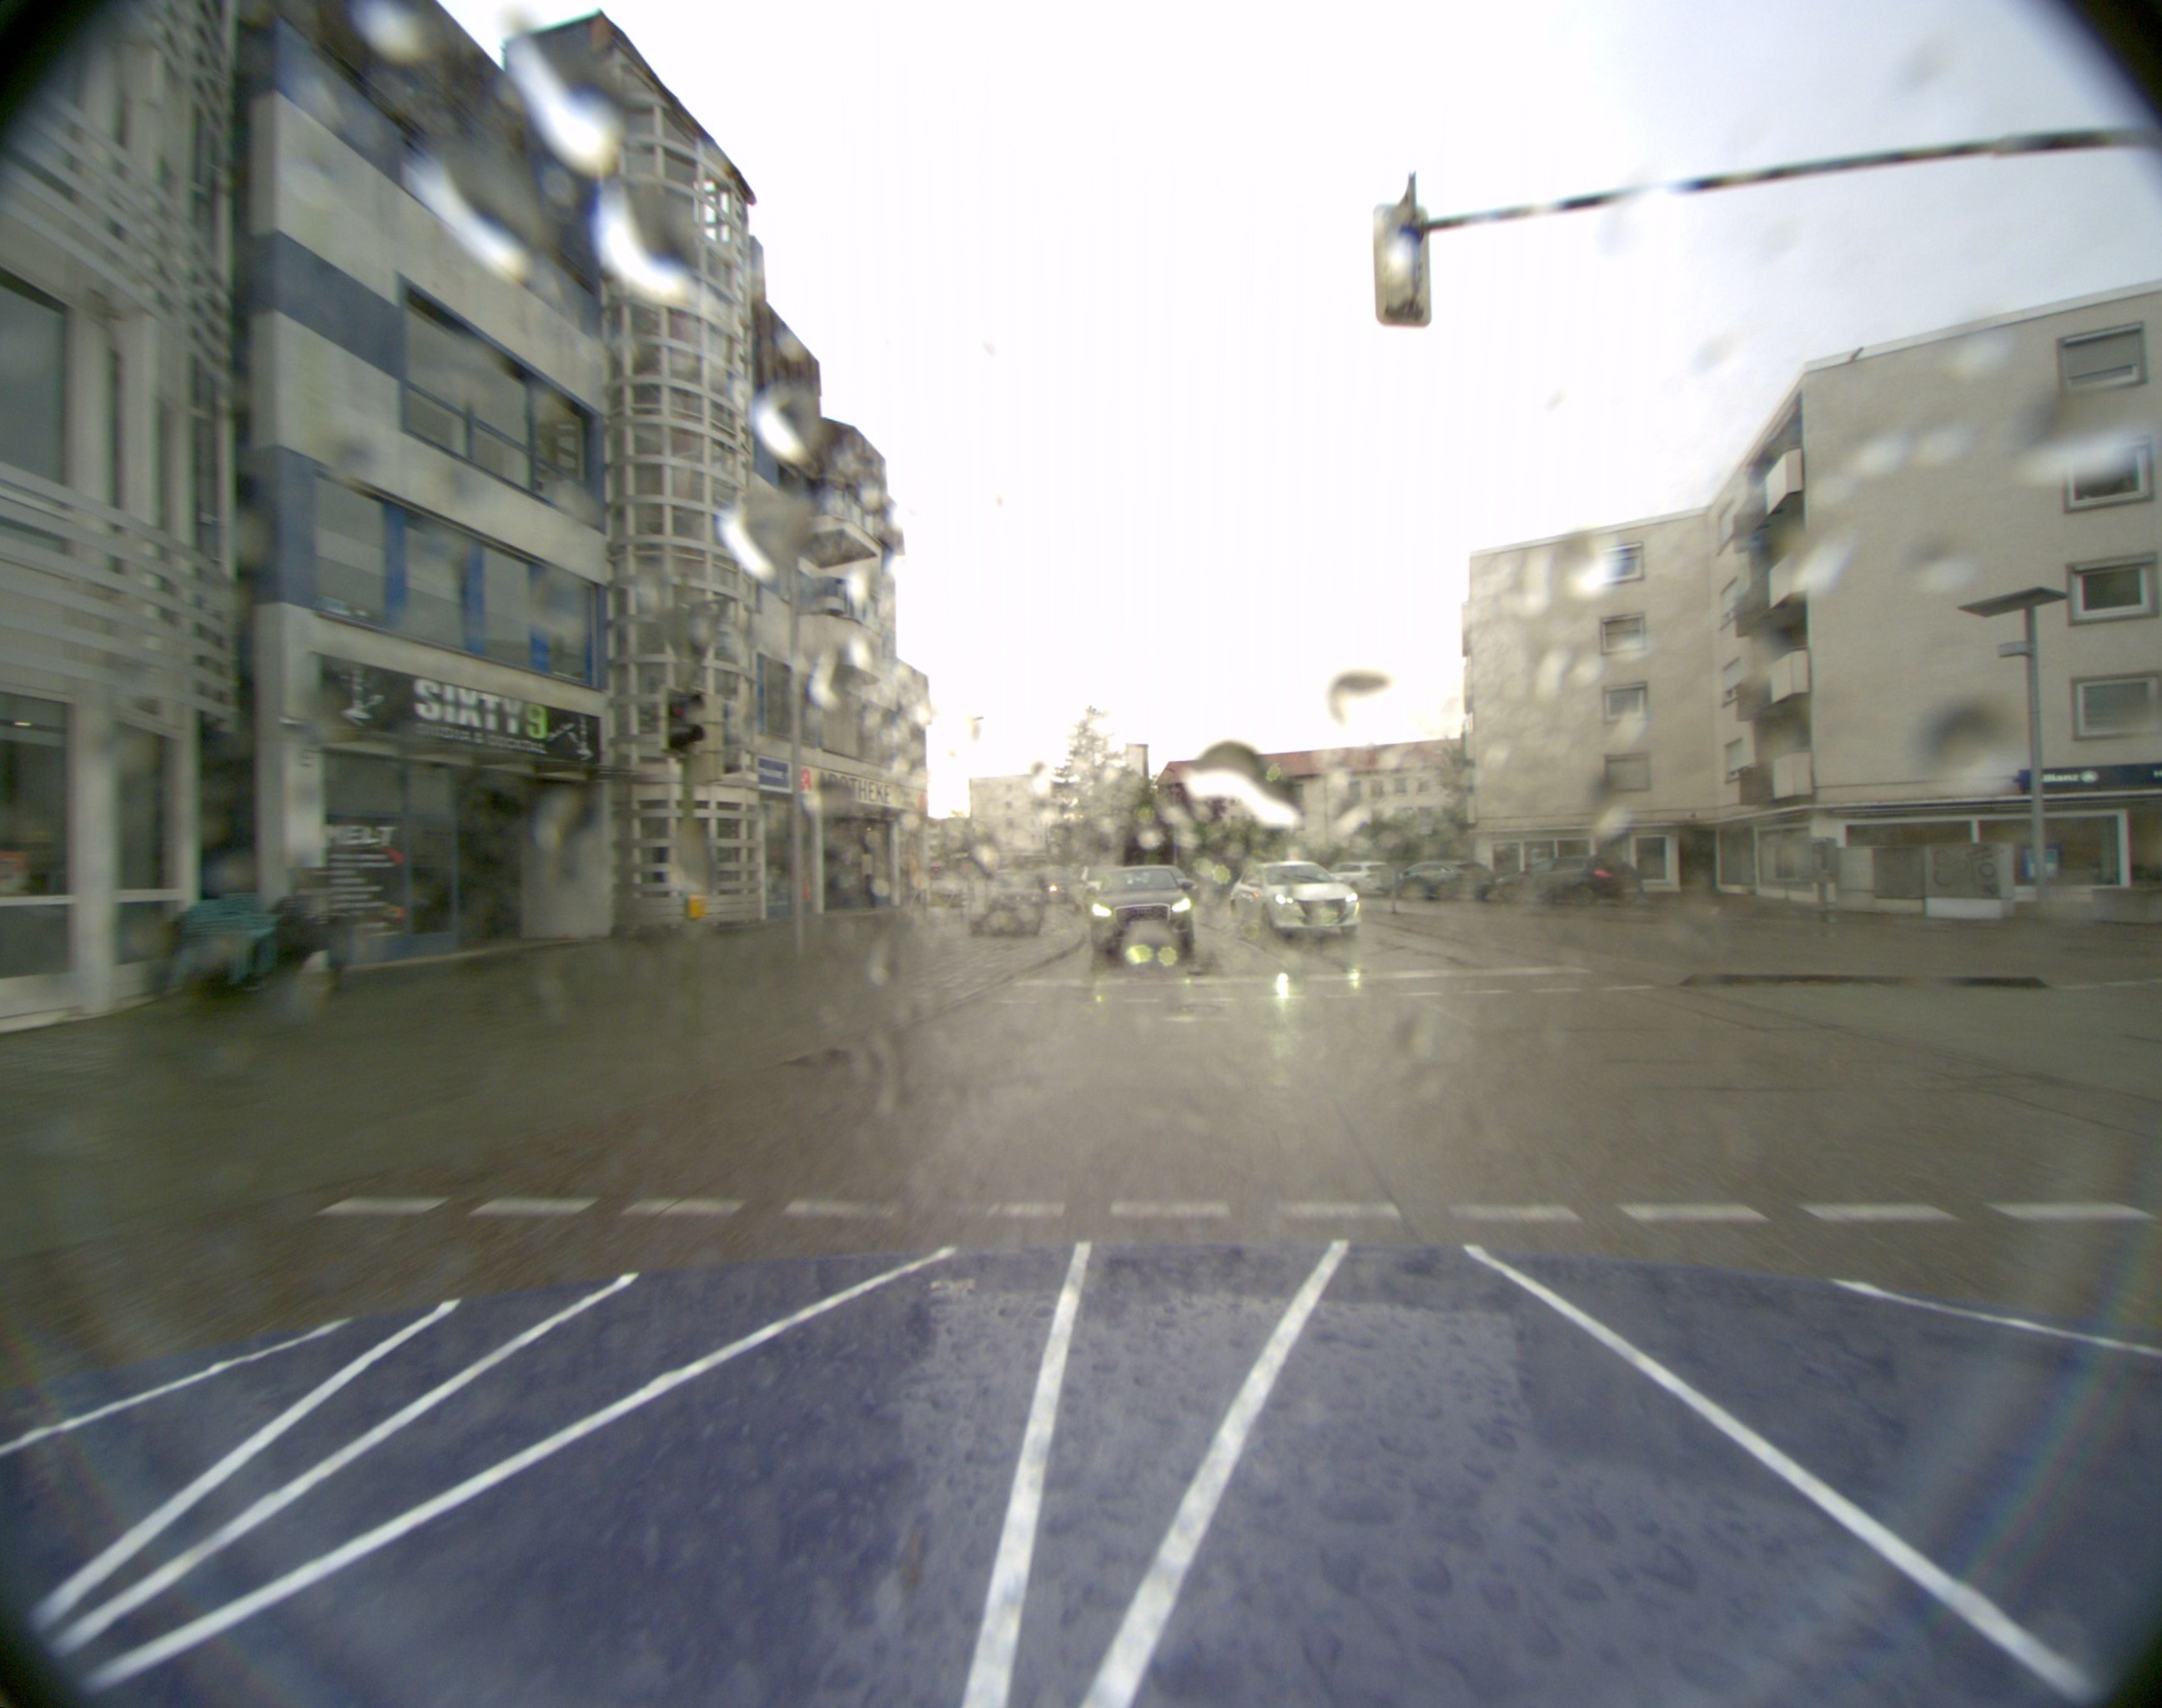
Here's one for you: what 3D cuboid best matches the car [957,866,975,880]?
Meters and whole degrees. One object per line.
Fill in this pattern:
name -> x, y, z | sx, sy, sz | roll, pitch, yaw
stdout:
car -> -14.802, 2.409, 97.810 | 1.746, 1.630, 3.995 | -2, 0, -15

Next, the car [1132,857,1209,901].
car -> 3.269, 0.889, 28.547 | 1.752, 1.446, 3.809 | -2, 1, -12

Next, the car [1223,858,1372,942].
car -> 4.229, 0.838, 15.505 | 1.743, 1.401, 3.896 | -3, 0, -2

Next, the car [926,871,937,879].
car -> -29.986, 4.147, 152.241 | 1.873, 1.428, 3.735 | -2, 0, -17

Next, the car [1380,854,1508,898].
car -> 13.408, 0.777, 28.380 | 1.839, 1.426, 4.268 | -3, 0, -18

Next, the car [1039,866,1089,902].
car -> -0.814, 1.300, 33.869 | 1.802, 1.361, 3.970 | -2, 1, -7

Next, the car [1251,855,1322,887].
car -> 10.395, 0.856, 38.727 | 1.635, 1.496, 3.875 | -2, 0, -17

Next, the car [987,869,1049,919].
car -> -2.017, 1.185, 23.538 | 1.656, 1.364, 3.728 | 1, -1, -9

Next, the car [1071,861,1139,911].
car -> 0.734, 1.057, 25.918 | 1.734, 1.519, 4.062 | -2, -1, -6

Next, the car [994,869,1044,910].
car -> -2.482, 1.325, 29.656 | 1.659, 1.416, 3.997 | -1, 0, -9

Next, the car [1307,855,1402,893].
car -> 11.898, 0.835, 33.389 | 1.639, 1.491, 4.340 | -2, 0, -17

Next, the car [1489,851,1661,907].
car -> 14.898, 0.702, 23.220 | 1.838, 1.451, 4.182 | -3, 0, -17

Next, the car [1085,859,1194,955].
car -> 1.217, 0.898, 14.497 | 1.733, 1.436, 4.048 | -2, 1, 7
